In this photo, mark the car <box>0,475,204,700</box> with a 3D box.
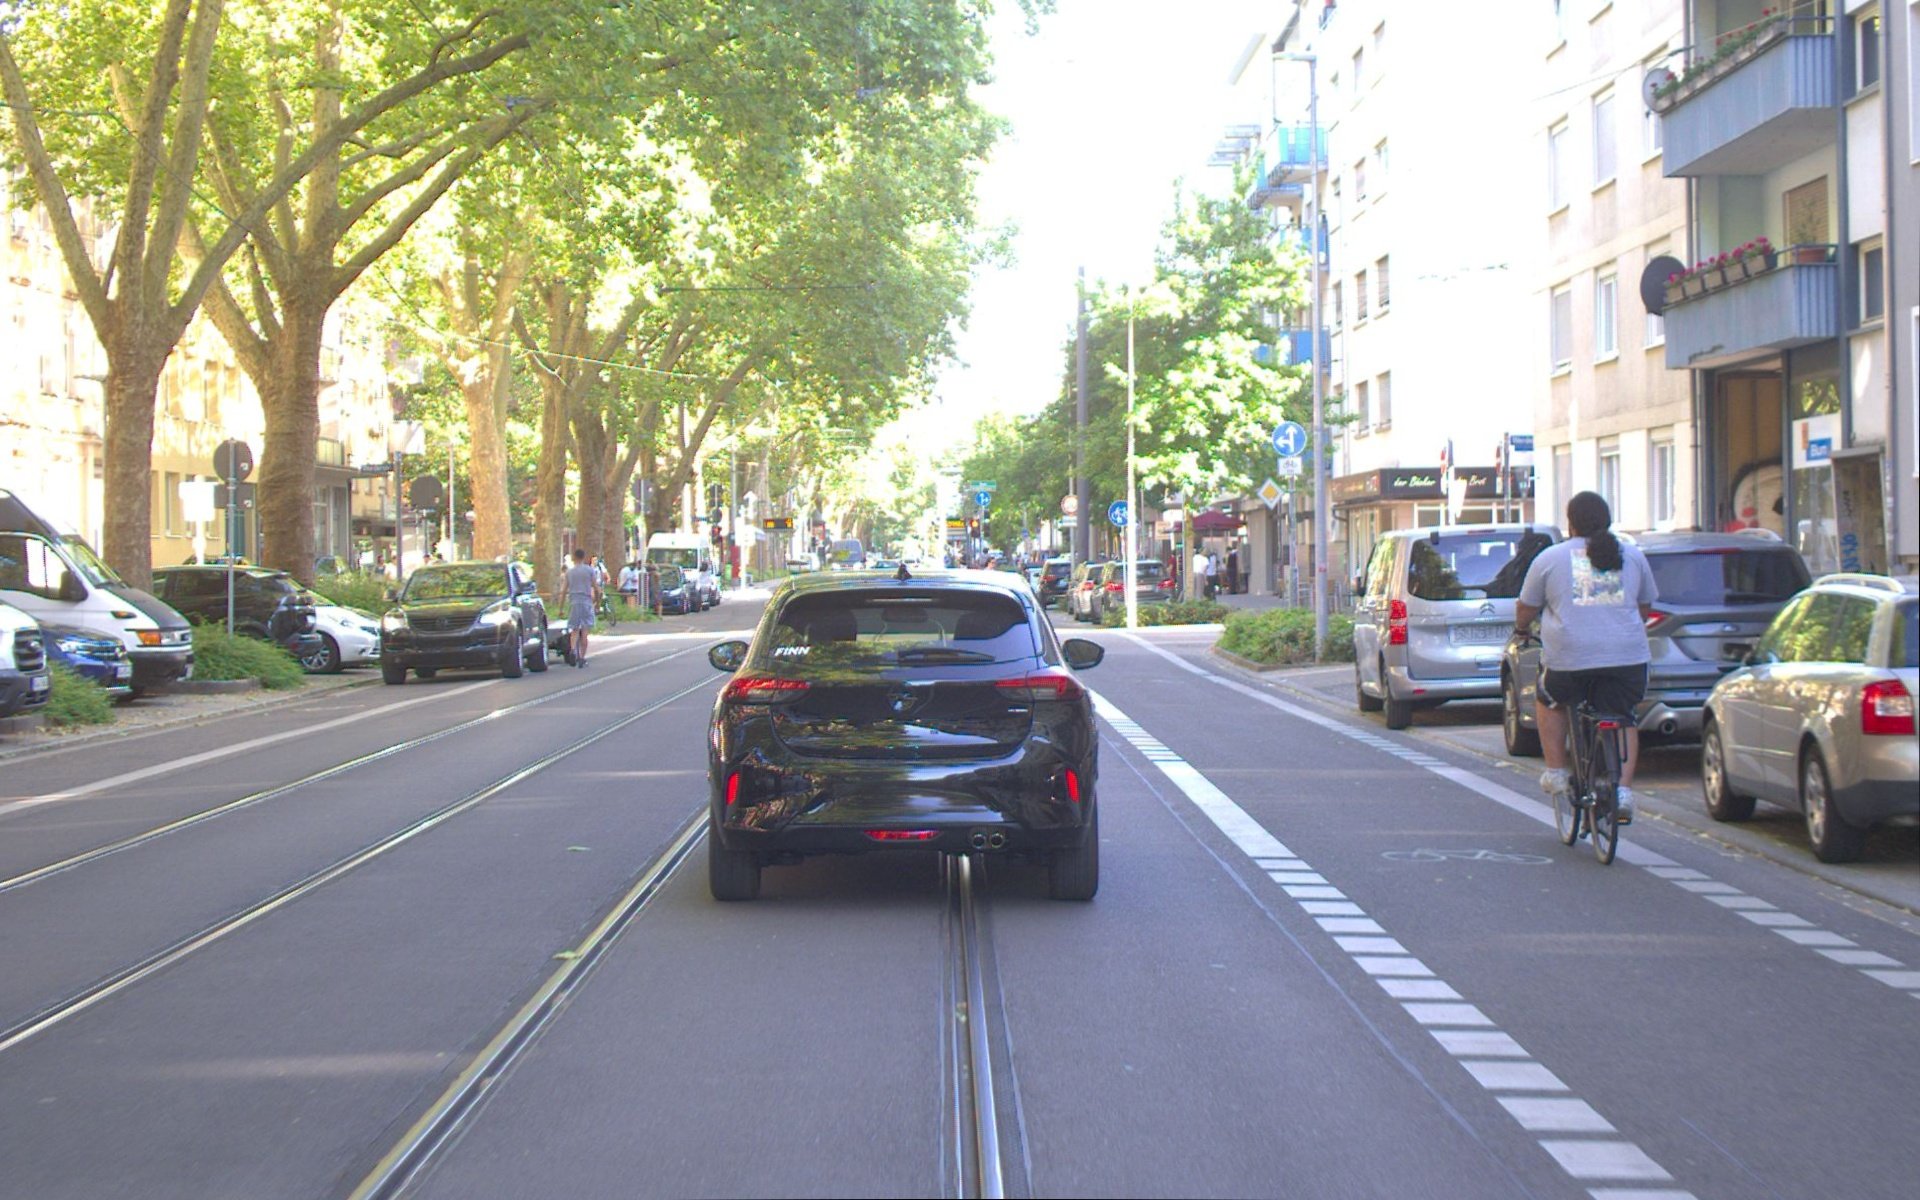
[{"bbox_3d":[-11.579,-0.137,40.435,4.943,2.559,2.083,-1,1,-3],"label":"car"}]

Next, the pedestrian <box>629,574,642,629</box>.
[{"bbox_3d":[-9.442,0.043,100.040,0.346,1.577,0.508,-1,0,-2],"label":"pedestrian"}]

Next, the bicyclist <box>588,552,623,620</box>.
[{"bbox_3d":[-8.877,-0.357,86.158,0.784,1.672,0.957,-1,1,-1],"label":"bicyclist"}]

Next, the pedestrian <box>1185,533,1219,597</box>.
[{"bbox_3d":[6.631,-0.957,94.105,0.768,1.742,0.795,-1,1,16],"label":"pedestrian"}]

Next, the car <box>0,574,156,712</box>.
[{"bbox_3d":[-11.068,0.459,37.765,4.019,1.461,1.872,0,1,1],"label":"car"}]

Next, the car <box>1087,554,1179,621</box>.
[{"bbox_3d":[4.174,-0.321,83.465,1.718,1.568,4.085,-1,1,-4],"label":"car"}]

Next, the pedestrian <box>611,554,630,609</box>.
[{"bbox_3d":[-9.825,-0.527,99.481,0.506,1.577,0.527,-1,0,-4],"label":"pedestrian"}]

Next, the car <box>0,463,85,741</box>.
[{"bbox_3d":[-11.003,0.037,31.611,5.360,2.469,2.057,-1,1,0],"label":"car"}]

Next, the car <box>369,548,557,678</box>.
[{"bbox_3d":[-7.041,0.151,49.162,1.993,1.694,4.485,-2,1,0],"label":"car"}]

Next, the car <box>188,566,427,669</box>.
[{"bbox_3d":[-10.128,0.264,53.542,3.430,1.525,1.787,-1,1,-3],"label":"car"}]

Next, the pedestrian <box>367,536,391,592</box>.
[{"bbox_3d":[-17.392,-1.082,102.991,0.552,1.646,0.649,-1,1,3],"label":"pedestrian"}]

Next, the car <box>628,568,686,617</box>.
[{"bbox_3d":[-9.667,-0.255,109.890,1.754,1.503,4.001,-1,1,-4],"label":"car"}]

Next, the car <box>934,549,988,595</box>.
[{"bbox_3d":[0.046,-1.053,126.555,1.858,1.646,4.000,-1,1,1],"label":"car"}]

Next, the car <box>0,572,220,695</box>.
[{"bbox_3d":[-11.408,0.411,43.128,3.854,1.473,1.861,-1,1,-1],"label":"car"}]

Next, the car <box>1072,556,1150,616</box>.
[{"bbox_3d":[3.888,-0.383,88.992,1.718,1.485,3.682,-1,1,-2],"label":"car"}]

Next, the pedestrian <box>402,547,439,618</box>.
[{"bbox_3d":[-14.299,-0.457,91.165,0.905,1.862,0.644,-1,1,-6],"label":"pedestrian"}]

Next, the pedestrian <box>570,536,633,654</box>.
[{"bbox_3d":[-5.391,-0.079,51.709,0.711,1.729,0.913,-2,1,6],"label":"pedestrian"}]

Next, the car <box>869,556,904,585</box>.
[{"bbox_3d":[-4.175,-1.693,195.954,1.750,1.646,4.000,-1,1,1],"label":"car"}]

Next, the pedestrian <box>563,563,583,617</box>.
[{"bbox_3d":[-11.250,-0.297,99.944,0.506,1.577,0.527,-1,0,-15],"label":"pedestrian"}]

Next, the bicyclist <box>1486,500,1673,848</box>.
[{"bbox_3d":[3.202,0.369,17.838,0.786,1.753,0.915,0,0,-1],"label":"bicyclist"}]

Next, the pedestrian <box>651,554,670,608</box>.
[{"bbox_3d":[-8.700,-0.549,99.812,0.506,1.577,0.527,-1,0,-1],"label":"pedestrian"}]

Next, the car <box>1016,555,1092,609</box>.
[{"bbox_3d":[2.924,-0.581,107.879,1.993,1.634,4.001,-1,1,-4],"label":"car"}]

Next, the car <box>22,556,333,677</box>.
[{"bbox_3d":[-11.083,0.213,48.899,3.987,1.641,1.894,-1,1,-1],"label":"car"}]

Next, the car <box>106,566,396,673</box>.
[{"bbox_3d":[-10.597,0.278,51.586,3.987,1.516,1.771,-1,1,-1],"label":"car"}]

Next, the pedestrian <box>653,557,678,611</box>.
[{"bbox_3d":[-8.613,-0.468,100.464,0.683,1.577,0.557,-1,0,-2],"label":"pedestrian"}]

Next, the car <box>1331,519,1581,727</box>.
[{"bbox_3d":[4.818,0.179,34.033,1.858,1.883,4.924,-1,1,1],"label":"car"}]

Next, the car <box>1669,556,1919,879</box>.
[{"bbox_3d":[5.136,0.532,18.667,1.724,1.520,4.512,-1,1,1],"label":"car"}]

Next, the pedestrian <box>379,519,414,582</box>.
[{"bbox_3d":[-14.712,-1.288,89.757,0.846,1.627,0.644,-1,1,-6],"label":"pedestrian"}]

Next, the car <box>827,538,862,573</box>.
[{"bbox_3d":[-7.437,-2.875,220.682,1.993,2.204,5.103,-1,1,-4],"label":"car"}]

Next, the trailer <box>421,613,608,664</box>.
[{"bbox_3d":[-6.986,0.590,54.596,2.160,0.629,6.400,-1,1,0],"label":"trailer"}]

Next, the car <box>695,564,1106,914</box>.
[{"bbox_3d":[-0.267,0.559,16.010,1.679,1.418,3.628,1,0,-1],"label":"car"}]

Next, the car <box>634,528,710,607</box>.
[{"bbox_3d":[-9.676,-1.112,115.794,2.092,2.575,5.997,-1,1,-1],"label":"car"}]

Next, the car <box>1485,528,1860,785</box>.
[{"bbox_3d":[5.097,0.348,25.144,1.766,1.699,4.283,-1,1,-1],"label":"car"}]

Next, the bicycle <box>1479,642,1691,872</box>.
[{"bbox_3d":[3.236,0.786,17.968,0.701,1.088,1.990,1,0,-1],"label":"bicycle"}]
